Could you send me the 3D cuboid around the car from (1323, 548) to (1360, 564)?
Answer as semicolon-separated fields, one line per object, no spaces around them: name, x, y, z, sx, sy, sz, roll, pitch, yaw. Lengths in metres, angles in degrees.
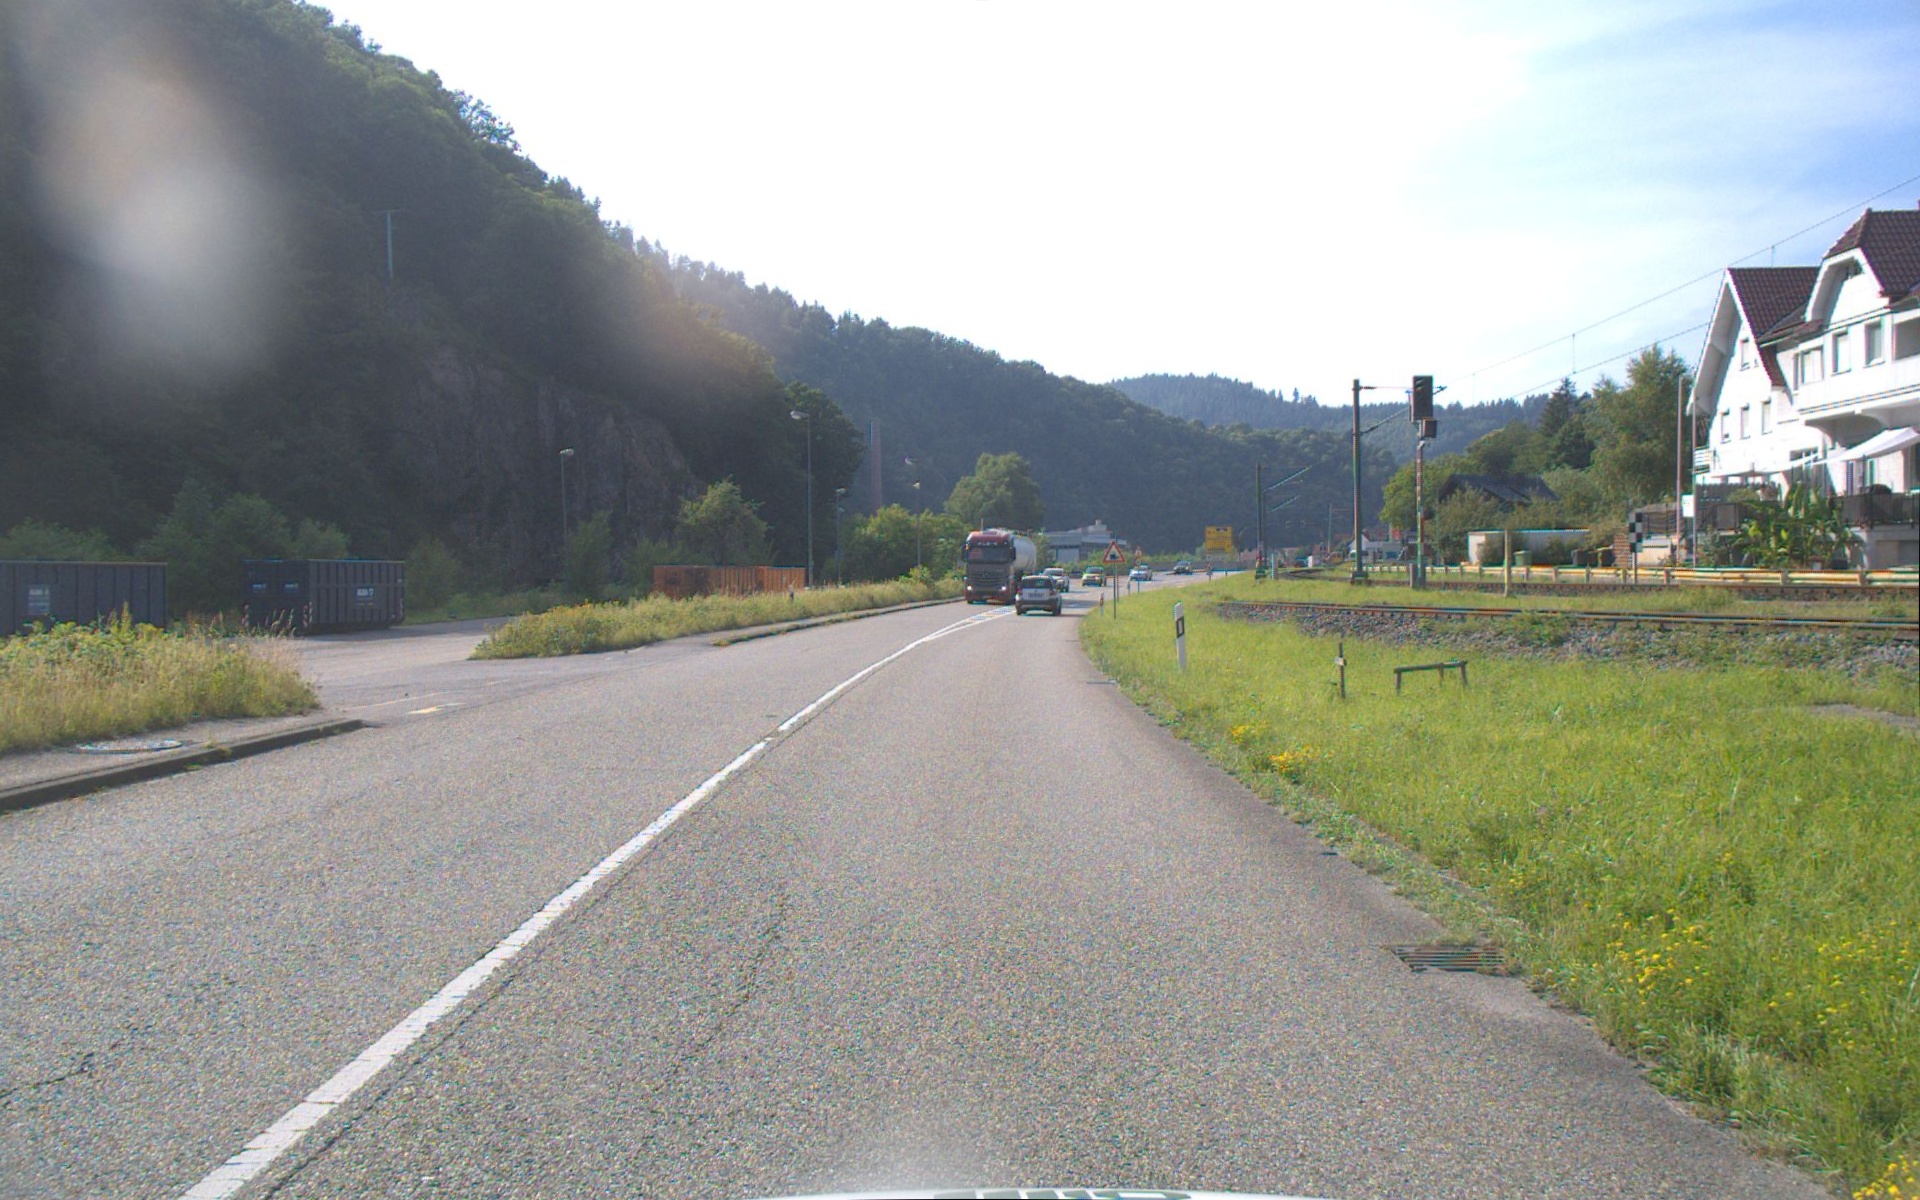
car;56.779;-6.596;246.372;5.166;2.048;2.002;-3;1;10

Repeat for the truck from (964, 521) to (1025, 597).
truck;1.957;-2.219;89.672;2.692;3.902;8.204;0;1;6

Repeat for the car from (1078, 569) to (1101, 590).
car;11.079;-1.756;141.103;1.687;1.653;3.800;1;2;8

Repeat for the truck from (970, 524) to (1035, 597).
truck;2.619;-2.266;96.134;2.692;3.902;14.573;0;1;6

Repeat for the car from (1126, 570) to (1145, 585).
car;17.684;-2.265;166.409;1.740;1.371;4.515;1;2;7

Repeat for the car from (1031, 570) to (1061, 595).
car;6.309;-1.285;120.824;1.951;1.789;4.473;1;1;5

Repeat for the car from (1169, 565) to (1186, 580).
car;25.186;-3.217;191.854;1.808;1.612;4.320;1;2;9

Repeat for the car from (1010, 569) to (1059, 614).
car;3.188;-0.377;70.672;1.952;1.753;3.992;-3;1;2

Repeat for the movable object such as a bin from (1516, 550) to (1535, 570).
movable object such as a bin;29.879;-2.123;87.405;0.790;1.068;0.913;1;2;9
